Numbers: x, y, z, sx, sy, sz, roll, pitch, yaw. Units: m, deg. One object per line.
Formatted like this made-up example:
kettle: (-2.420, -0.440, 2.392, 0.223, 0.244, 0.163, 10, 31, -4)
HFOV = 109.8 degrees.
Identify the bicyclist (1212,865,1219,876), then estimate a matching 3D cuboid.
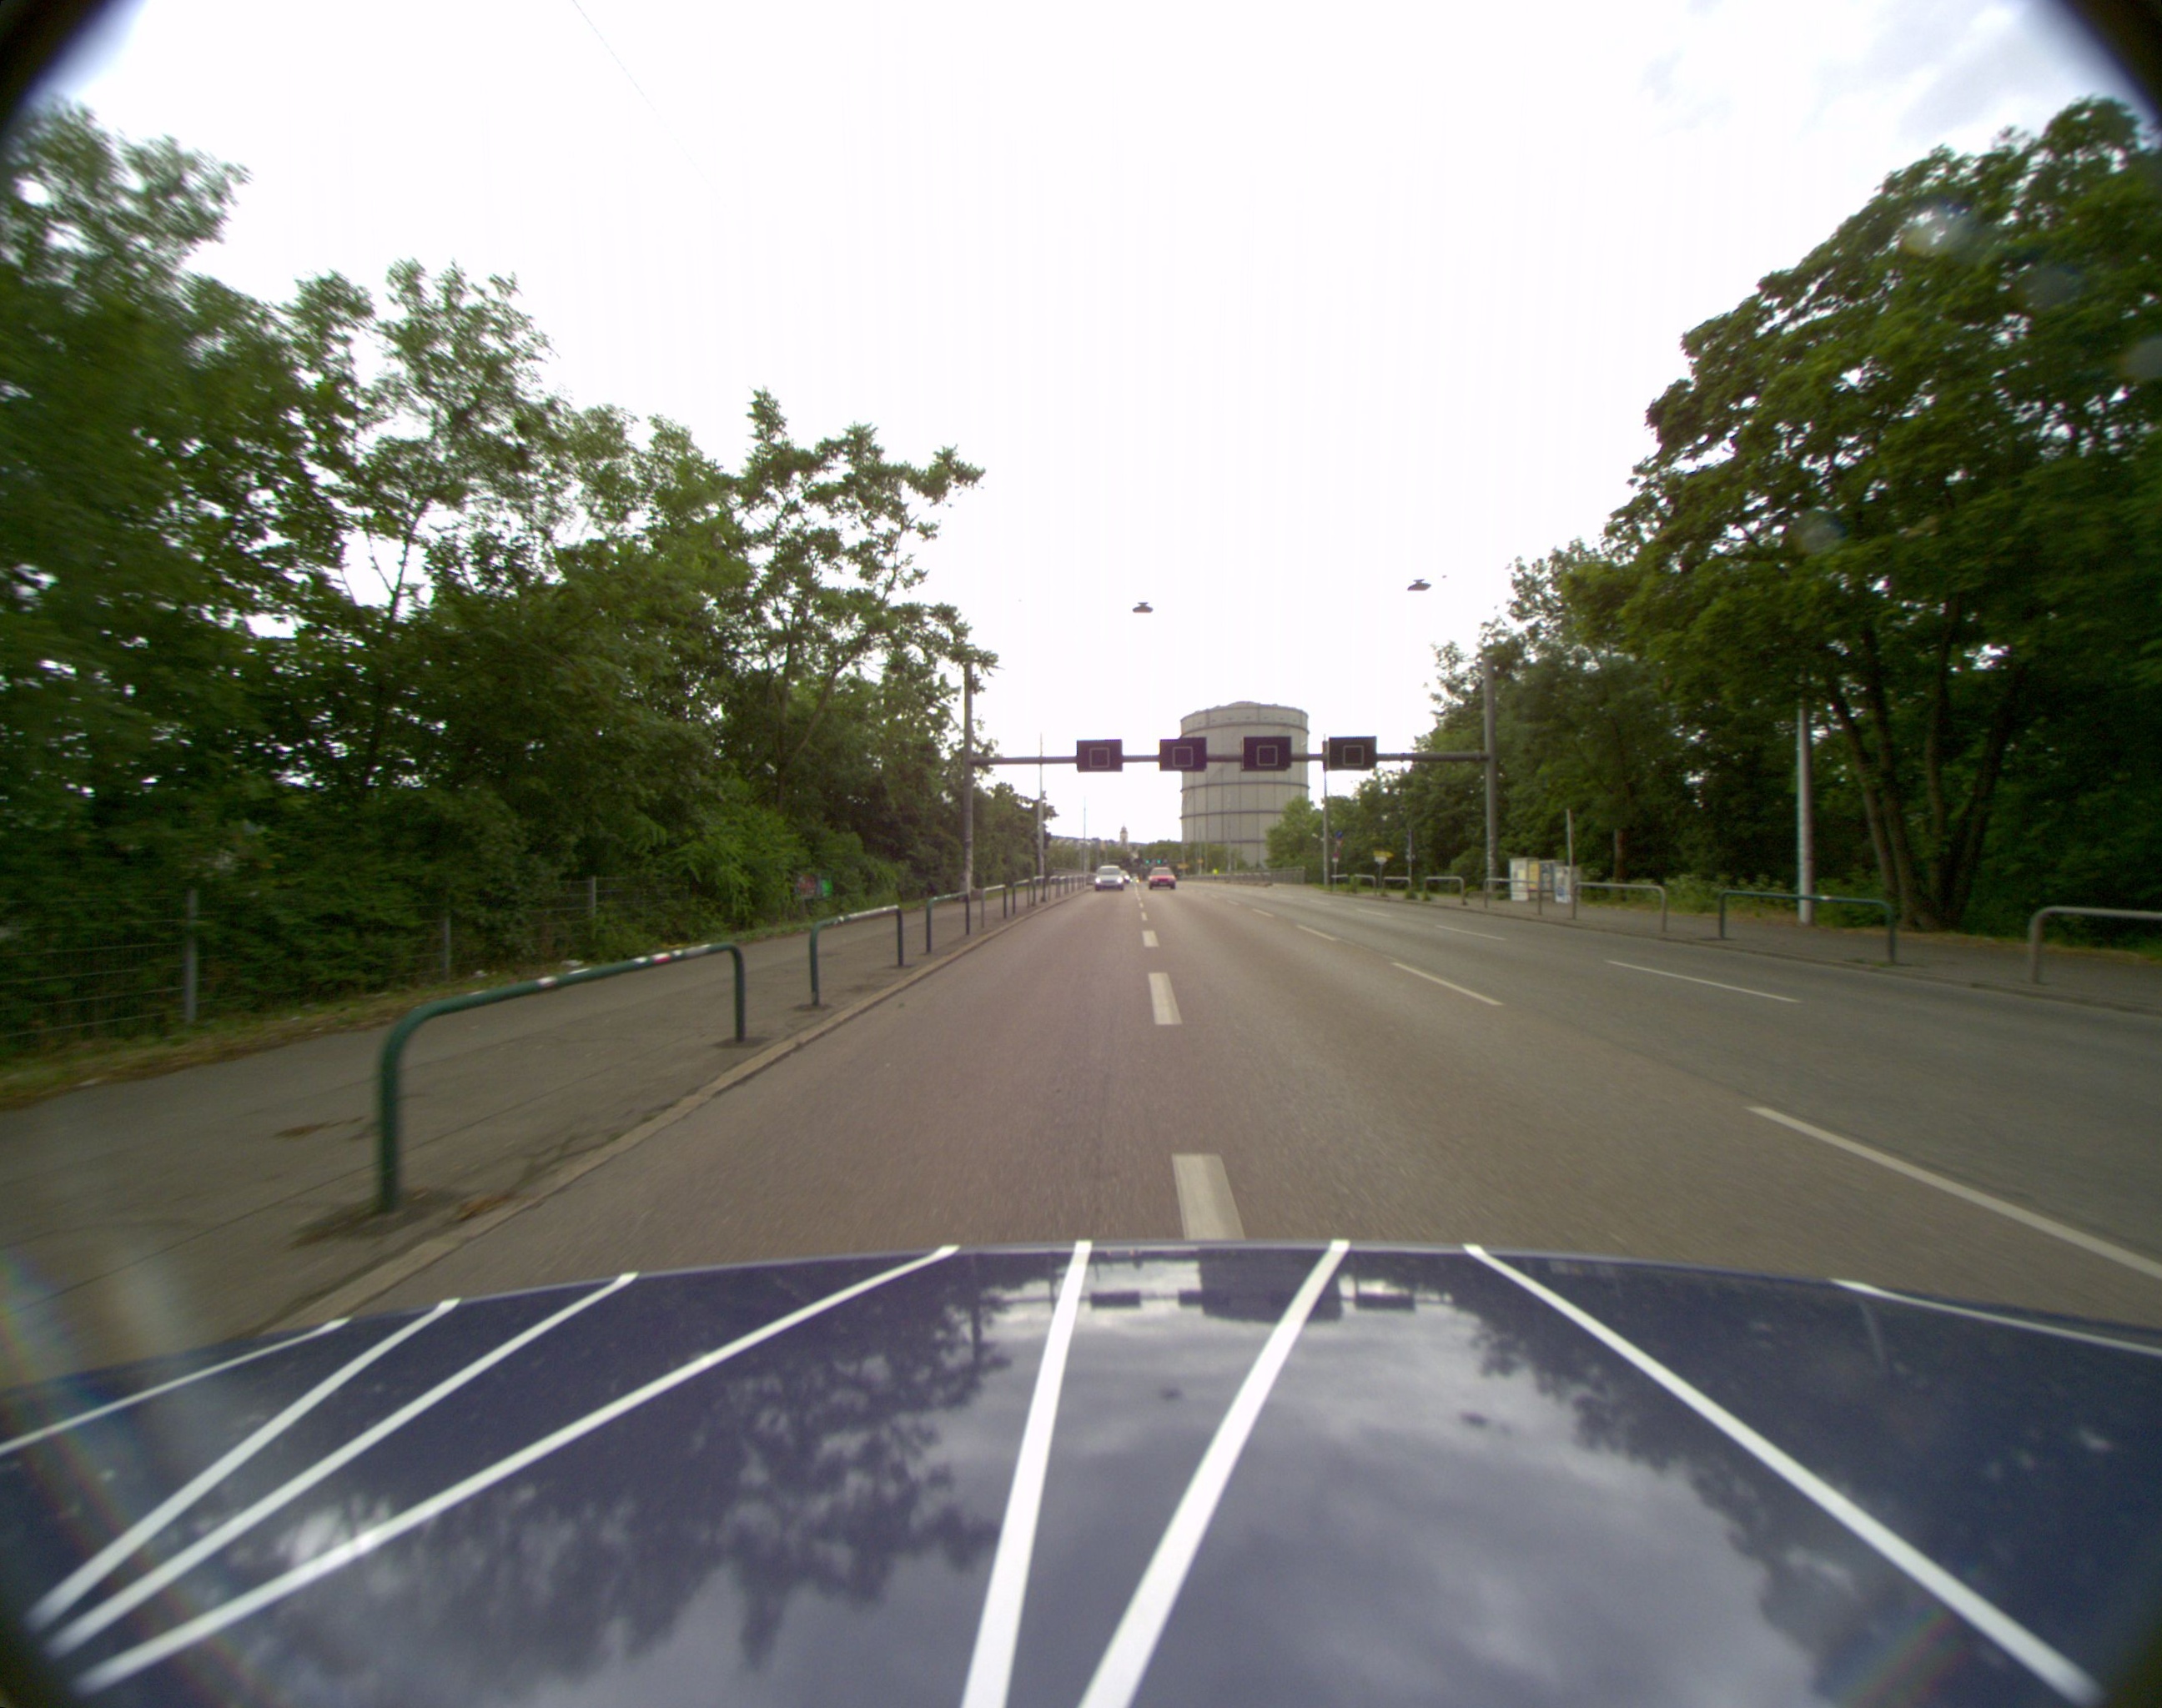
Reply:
bicyclist: (18.692, 2.331, 105.511, 0.627, 1.467, 0.671, -8, -2, 6)

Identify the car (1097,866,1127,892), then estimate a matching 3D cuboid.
car: (2.004, 1.574, 48.627, 1.771, 1.564, 4.001, 0, 0, 4)

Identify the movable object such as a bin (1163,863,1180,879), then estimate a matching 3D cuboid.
movable object such as a bin: (20.538, 3.840, 172.839, 3.463, 3.303, 9.363, 1, -1, 4)

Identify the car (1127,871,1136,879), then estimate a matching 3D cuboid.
car: (12.830, 5.324, 192.616, 1.997, 1.792, 4.002, -2, 0, 7)

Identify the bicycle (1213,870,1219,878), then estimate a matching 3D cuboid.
bicycle: (18.770, 2.773, 105.536, 0.636, 1.057, 1.984, -8, -2, 6)

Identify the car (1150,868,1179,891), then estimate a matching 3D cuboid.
car: (5.465, 1.670, 50.221, 1.695, 1.434, 4.002, 1, -1, 4)

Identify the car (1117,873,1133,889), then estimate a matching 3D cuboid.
car: (4.959, 3.080, 86.349, 1.776, 1.696, 4.001, -2, 0, 3)
